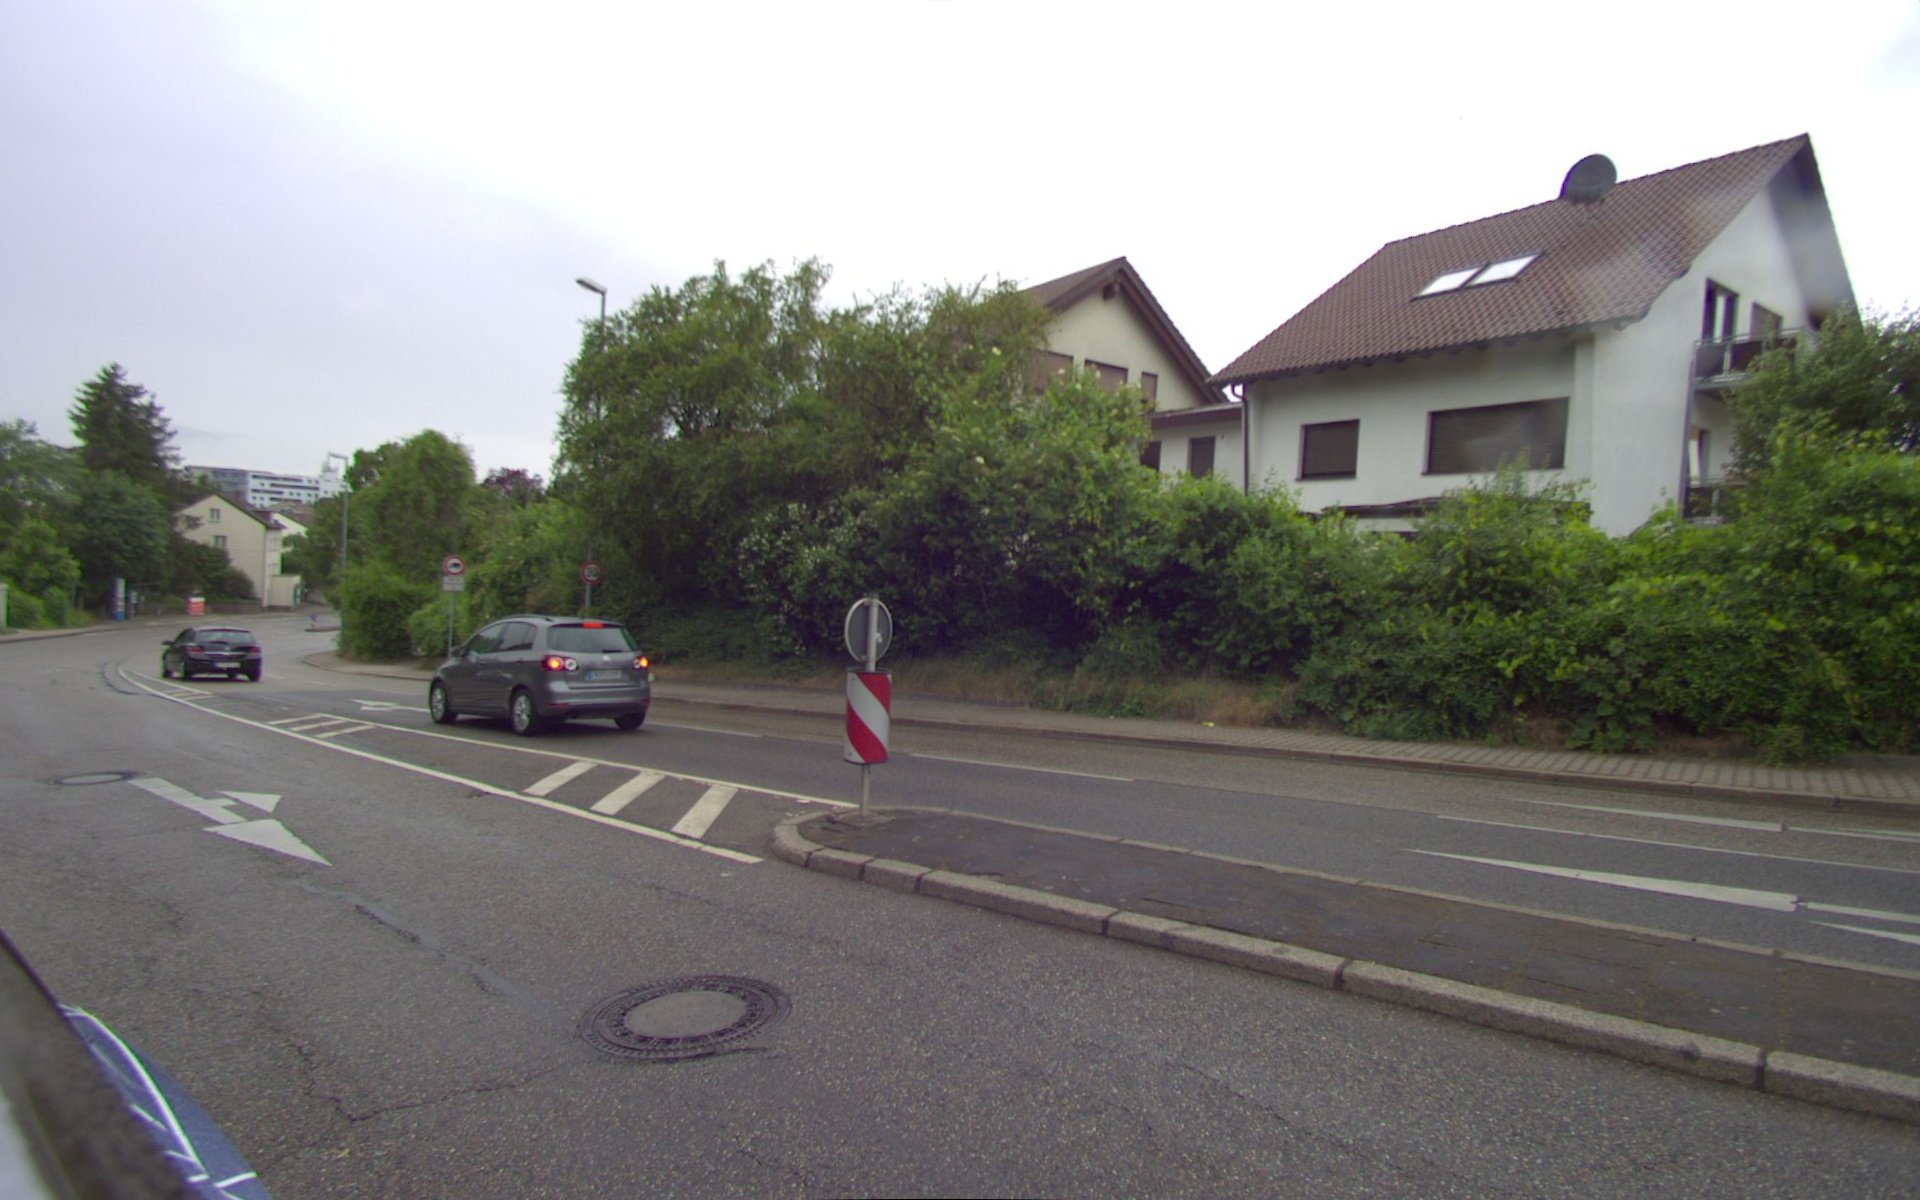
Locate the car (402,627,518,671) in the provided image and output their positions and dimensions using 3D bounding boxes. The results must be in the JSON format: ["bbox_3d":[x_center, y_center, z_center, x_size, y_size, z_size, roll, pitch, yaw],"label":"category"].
[{"bbox_3d":[-20.979,1.995,42.531,3.939,1.548,2.003,-3,1,-42],"label":"car"}]

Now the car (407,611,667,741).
[{"bbox_3d":[-6.159,1.019,14.558,4.027,1.614,1.725,-1,-3,39],"label":"car"}]

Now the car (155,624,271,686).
[{"bbox_3d":[-20.079,1.436,27.143,4.002,1.521,1.874,-1,-3,45],"label":"car"}]

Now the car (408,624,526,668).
[{"bbox_3d":[-19.498,1.787,40.088,3.853,1.451,1.814,-3,1,-41],"label":"car"}]
